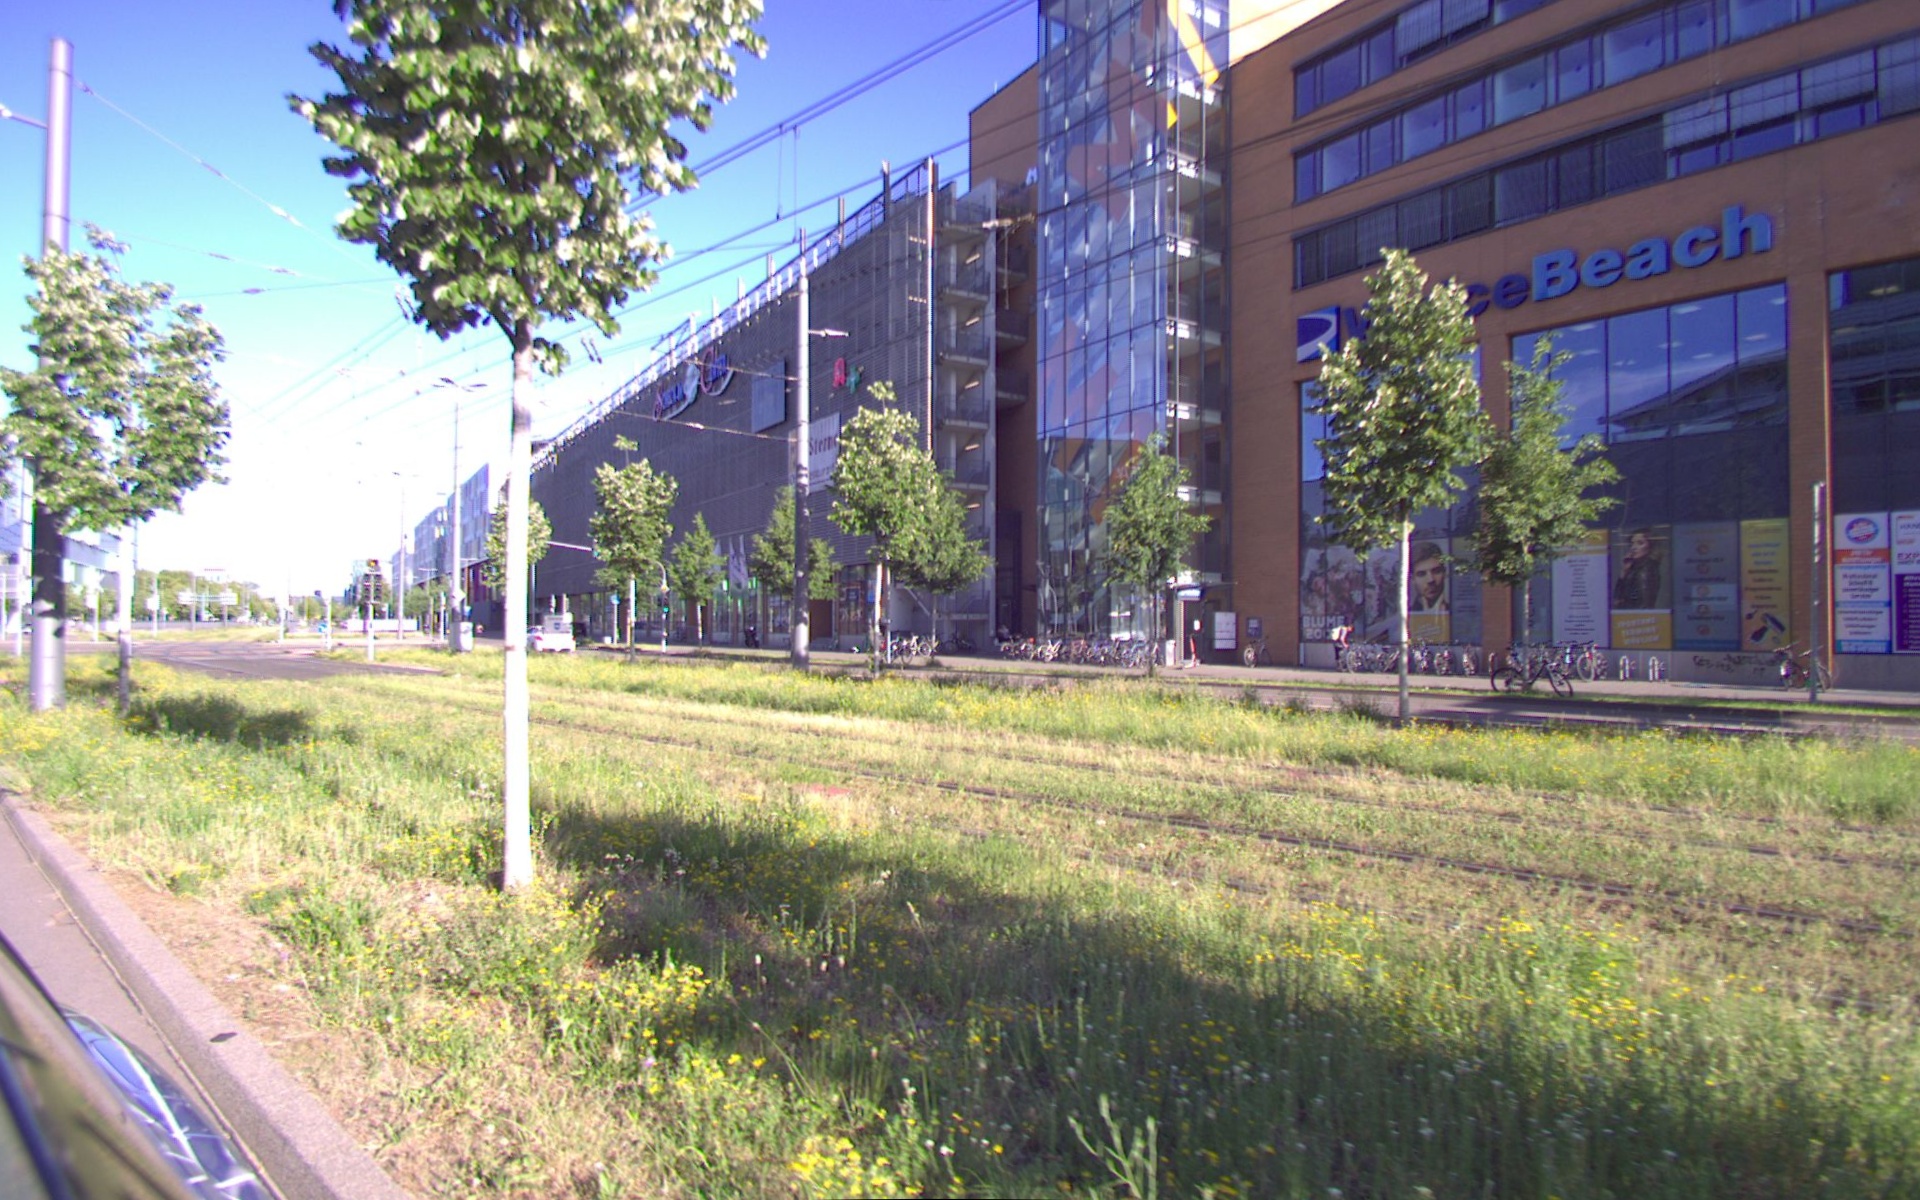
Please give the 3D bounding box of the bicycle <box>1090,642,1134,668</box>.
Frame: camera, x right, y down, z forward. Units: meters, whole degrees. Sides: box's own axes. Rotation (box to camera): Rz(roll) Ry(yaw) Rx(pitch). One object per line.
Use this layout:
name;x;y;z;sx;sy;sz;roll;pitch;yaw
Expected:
bicycle;5.768;2.090;38.337;1.742;0.933;0.566;1;-2;-34

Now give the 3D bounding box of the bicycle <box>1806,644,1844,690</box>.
bicycle;21.006;1.611;24.556;1.744;1.057;0.491;1;-2;-43

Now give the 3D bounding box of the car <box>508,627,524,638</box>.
car;-53.497;3.897;121.828;1.663;1.382;3.602;0;-1;-25

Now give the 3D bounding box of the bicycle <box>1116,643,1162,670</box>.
bicycle;6.575;2.073;37.195;1.742;0.933;0.566;1;-2;-34

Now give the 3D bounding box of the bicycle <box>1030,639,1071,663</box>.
bicycle;3.697;2.074;41.205;1.742;0.933;0.492;1;-2;-34

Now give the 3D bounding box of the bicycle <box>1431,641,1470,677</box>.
bicycle;15.213;1.802;31.355;1.744;1.057;0.491;1;-2;-43

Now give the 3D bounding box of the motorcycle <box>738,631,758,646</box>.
motorcycle;-13.167;2.401;62.843;0.421;0.927;2.030;1;-2;-35

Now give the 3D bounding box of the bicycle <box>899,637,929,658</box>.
bicycle;-2.188;2.249;48.023;1.377;0.933;0.463;1;-2;-34

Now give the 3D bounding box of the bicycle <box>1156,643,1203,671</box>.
bicycle;7.745;1.999;35.743;1.742;0.933;0.566;1;-2;-34

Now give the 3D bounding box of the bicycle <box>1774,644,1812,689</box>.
bicycle;20.554;1.619;24.964;1.744;1.057;0.491;1;-2;-43

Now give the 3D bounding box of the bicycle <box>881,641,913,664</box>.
bicycle;-2.605;2.162;41.716;0.380;0.875;1.775;1;-2;-37

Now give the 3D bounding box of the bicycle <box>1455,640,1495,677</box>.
bicycle;15.688;1.771;30.801;1.744;1.057;0.491;1;-2;-43

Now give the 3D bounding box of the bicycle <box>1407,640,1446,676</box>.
bicycle;14.705;1.812;31.893;1.744;1.057;0.491;1;-2;-43

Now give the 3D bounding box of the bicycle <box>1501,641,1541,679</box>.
bicycle;16.525;1.754;29.788;1.744;1.057;0.491;1;-2;-43

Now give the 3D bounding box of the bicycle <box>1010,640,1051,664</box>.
bicycle;2.946;2.147;42.103;1.742;0.933;0.566;1;-2;-34

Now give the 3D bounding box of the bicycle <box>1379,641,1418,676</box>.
bicycle;14.094;1.857;32.521;1.744;1.057;0.491;1;-2;-43

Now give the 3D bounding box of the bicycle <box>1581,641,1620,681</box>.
bicycle;17.875;1.673;28.229;1.744;1.057;0.491;1;-2;-43

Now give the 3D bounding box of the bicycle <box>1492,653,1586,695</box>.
bicycle;13.085;1.655;22.901;1.770;0.875;0.458;-1;-2;40

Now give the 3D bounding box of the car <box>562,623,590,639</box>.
car;-37.424;3.014;98.568;1.560;1.541;3.758;-1;0;-38

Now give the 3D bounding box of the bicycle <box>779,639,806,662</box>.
bicycle;-7.344;2.195;44.240;0.380;0.930;1.775;1;-2;-37

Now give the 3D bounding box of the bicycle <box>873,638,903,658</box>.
bicycle;-3.471;2.288;48.752;1.377;0.933;0.463;1;-2;-34

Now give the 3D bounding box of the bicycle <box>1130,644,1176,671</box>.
bicycle;6.958;2.064;36.531;1.742;0.933;0.566;1;-2;-34

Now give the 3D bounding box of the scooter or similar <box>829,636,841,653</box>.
scooter or similar;-6.807;2.406;55.092;0.286;0.900;0.904;1;-2;-33

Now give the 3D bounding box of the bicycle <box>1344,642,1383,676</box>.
bicycle;13.303;1.938;33.365;1.744;1.057;0.491;1;-2;-43

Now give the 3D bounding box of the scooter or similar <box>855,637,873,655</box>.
scooter or similar;-4.895;2.334;51.610;0.889;0.900;0.290;0;-1;3

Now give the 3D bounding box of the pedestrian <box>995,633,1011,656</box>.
pedestrian;2.062;2.106;48.213;0.620;1.063;0.450;1;-2;-38

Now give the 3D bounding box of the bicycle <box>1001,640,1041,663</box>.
bicycle;2.559;2.156;42.687;1.742;0.933;0.492;1;-2;-34

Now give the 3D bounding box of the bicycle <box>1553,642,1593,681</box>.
bicycle;17.430;1.737;28.771;1.744;1.057;0.491;1;-2;-43

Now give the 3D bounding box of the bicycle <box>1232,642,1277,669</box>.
bicycle;10.648;2.000;36.605;1.742;0.933;0.566;1;-2;-34

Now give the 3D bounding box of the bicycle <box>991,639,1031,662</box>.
bicycle;2.177;2.163;43.187;1.742;0.933;0.492;1;-2;-34

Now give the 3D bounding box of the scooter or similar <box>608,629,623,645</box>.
scooter or similar;-24.259;2.600;71.325;1.363;1.050;0.430;-1;-1;45

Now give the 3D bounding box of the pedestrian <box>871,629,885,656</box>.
pedestrian;-4.061;2.103;50.255;0.442;1.299;0.631;1;-2;-37

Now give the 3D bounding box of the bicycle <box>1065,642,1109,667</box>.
bicycle;4.968;2.107;39.557;1.742;0.933;0.566;1;-2;-34

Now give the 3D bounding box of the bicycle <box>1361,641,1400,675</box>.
bicycle;13.699;1.865;32.952;1.744;1.057;0.491;1;-2;-43

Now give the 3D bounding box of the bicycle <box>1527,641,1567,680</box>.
bicycle;17.009;1.745;29.314;1.744;1.057;0.491;1;-2;-43

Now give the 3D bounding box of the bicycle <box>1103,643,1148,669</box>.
bicycle;6.183;2.081;37.748;1.742;0.933;0.566;1;-2;-34

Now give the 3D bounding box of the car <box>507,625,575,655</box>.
car;-19.340;1.825;46.642;1.782;1.338;4.414;2;-2;-37

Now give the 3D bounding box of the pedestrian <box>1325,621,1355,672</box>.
pedestrian;12.682;1.541;33.747;0.736;1.681;0.676;1;-2;-44

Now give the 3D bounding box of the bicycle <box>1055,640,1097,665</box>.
bicycle;4.587;2.061;40.078;1.742;0.933;0.492;1;-2;-34

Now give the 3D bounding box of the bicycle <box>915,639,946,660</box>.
bicycle;-1.358;2.269;46.813;1.377;0.933;0.463;1;-2;-34

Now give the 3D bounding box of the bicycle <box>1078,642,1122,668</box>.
bicycle;5.385;2.098;38.920;1.742;0.933;0.566;1;-2;-34
